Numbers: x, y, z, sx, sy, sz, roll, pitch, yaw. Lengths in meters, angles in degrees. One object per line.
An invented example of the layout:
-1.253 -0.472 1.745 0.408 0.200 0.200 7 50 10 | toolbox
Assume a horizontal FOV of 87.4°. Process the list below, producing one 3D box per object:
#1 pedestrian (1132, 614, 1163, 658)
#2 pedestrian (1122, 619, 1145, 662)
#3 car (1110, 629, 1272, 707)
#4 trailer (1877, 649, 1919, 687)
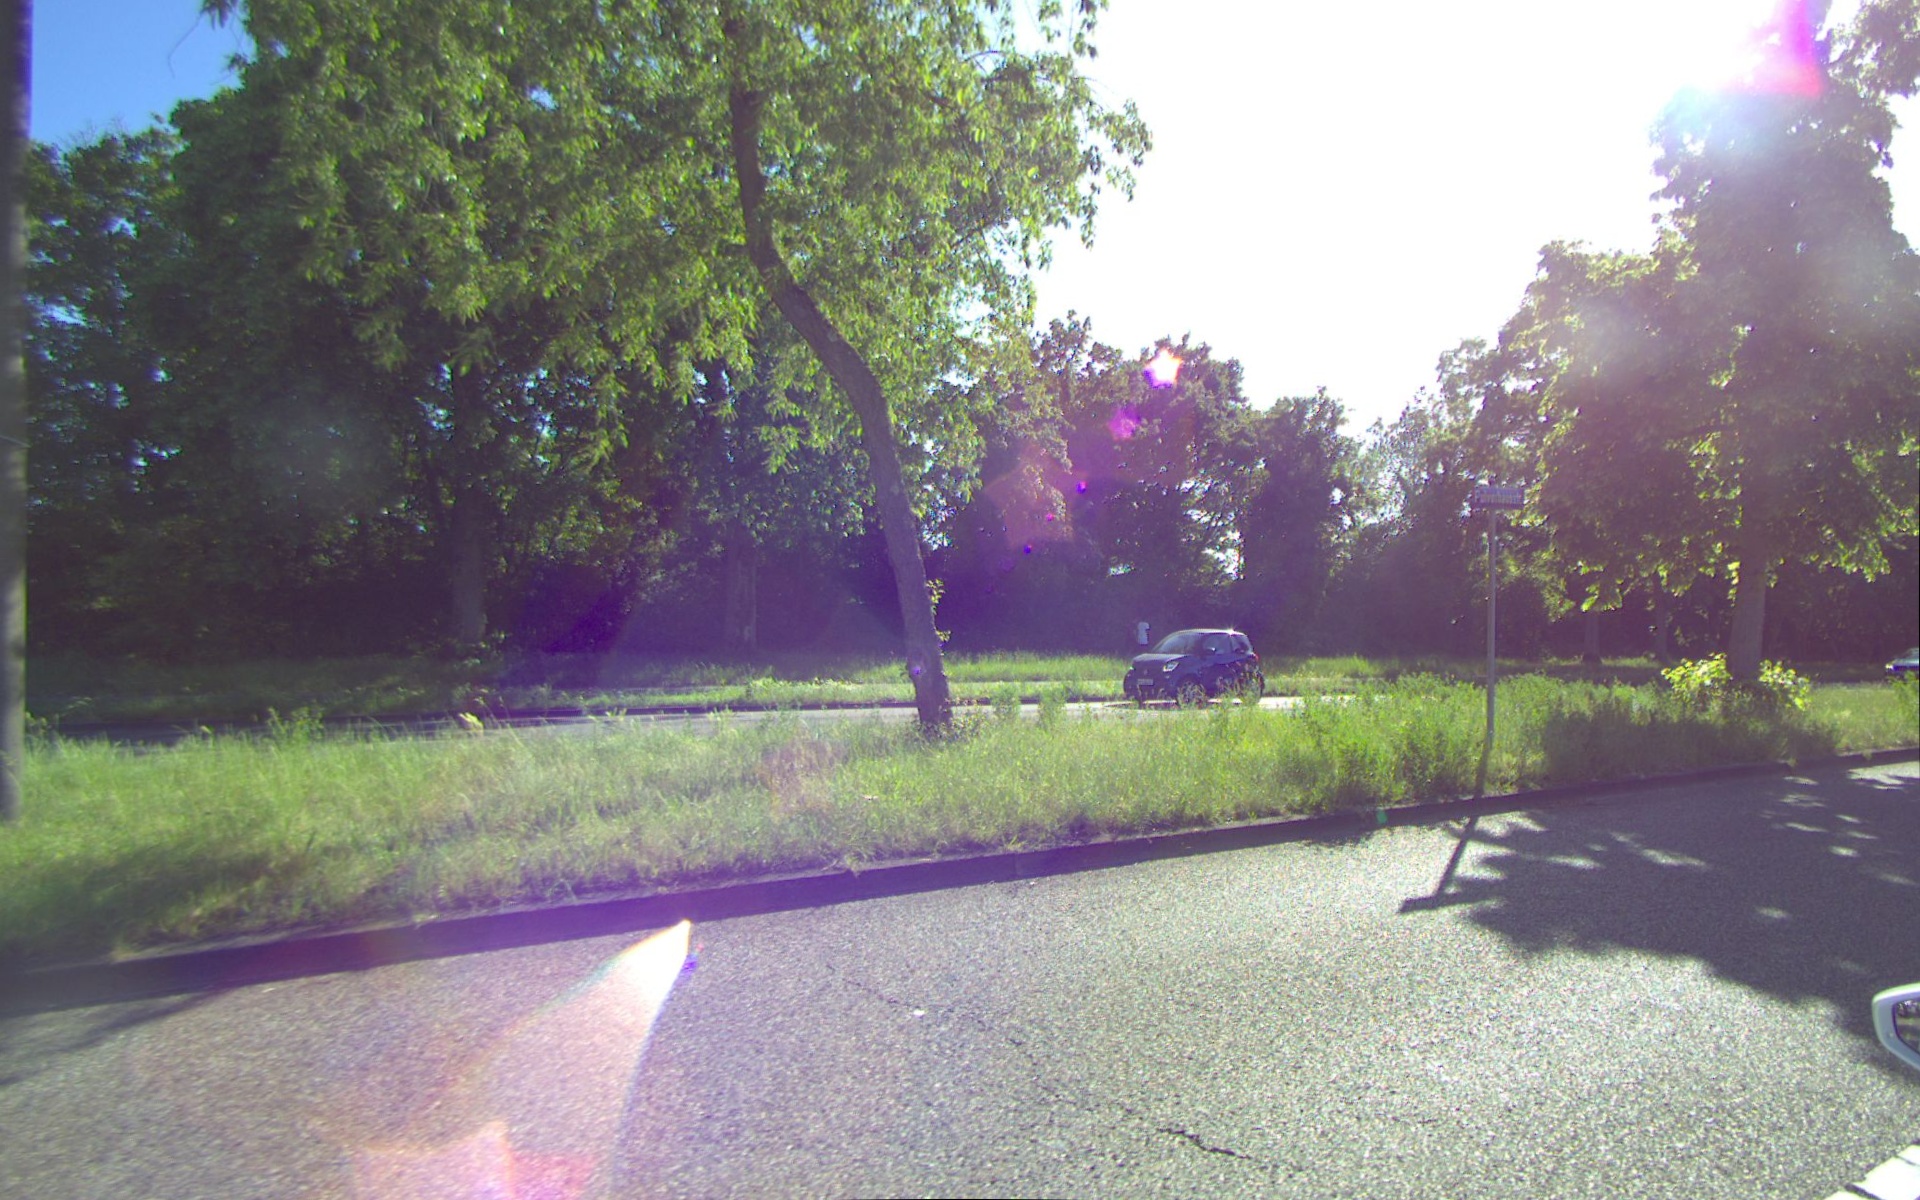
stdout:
6.461 1.238 34.558 0.906 1.479 0.542 2 -1 -30 | pedestrian
6.090 1.431 35.288 0.589 1.479 0.542 2 -1 -30 | pedestrian
4.852 1.404 21.082 2.983 1.525 1.706 2 -3 -32 | car
38.783 2.708 40.246 4.443 1.443 1.733 2 -3 -30 | trailer
